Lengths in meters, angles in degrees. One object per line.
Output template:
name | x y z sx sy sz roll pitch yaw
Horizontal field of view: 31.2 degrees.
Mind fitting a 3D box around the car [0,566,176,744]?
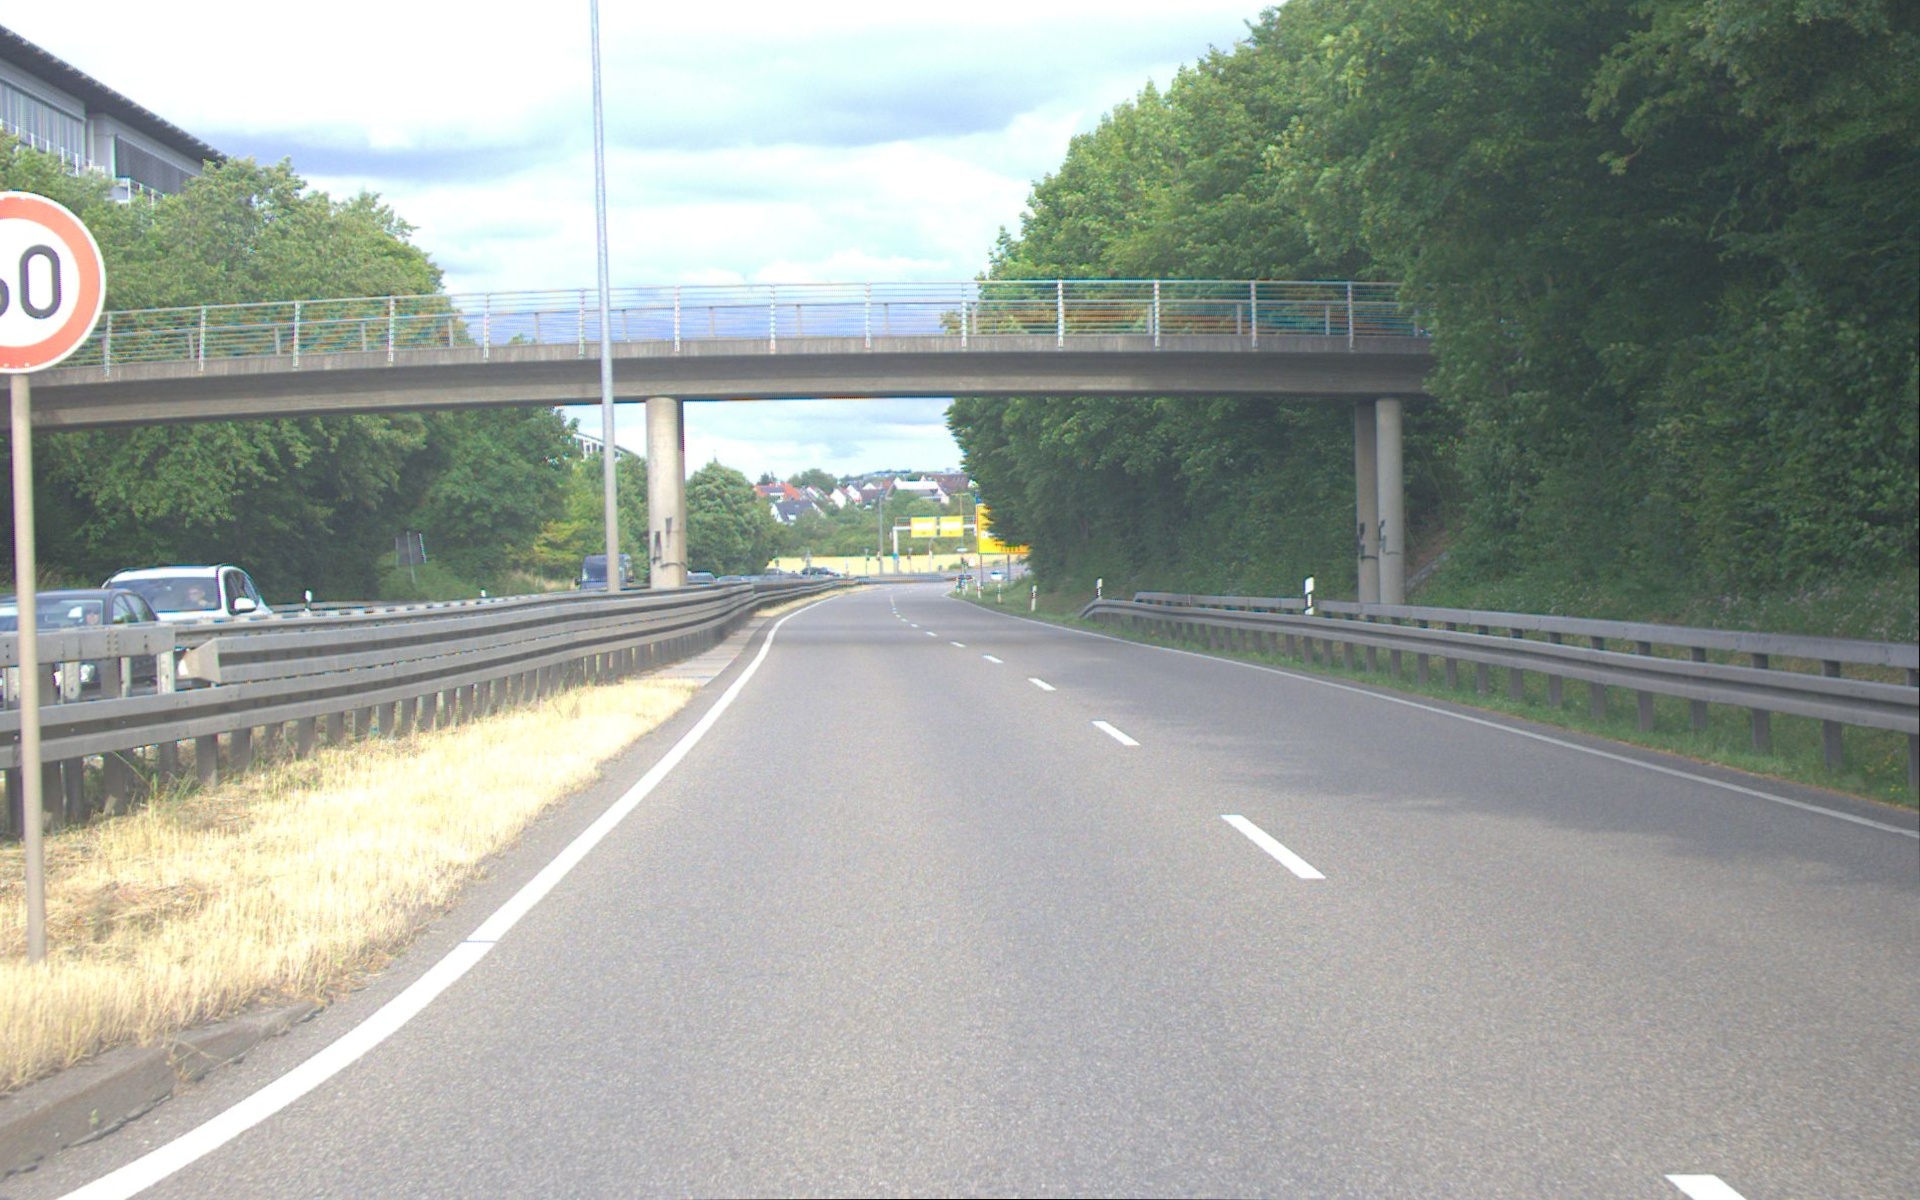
car | -8.577 0.487 32.021 1.718 1.462 3.735 -3 2 -1

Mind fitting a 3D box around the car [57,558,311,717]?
car | -8.796 0.383 39.385 1.823 1.579 4.791 -4 1 -1
